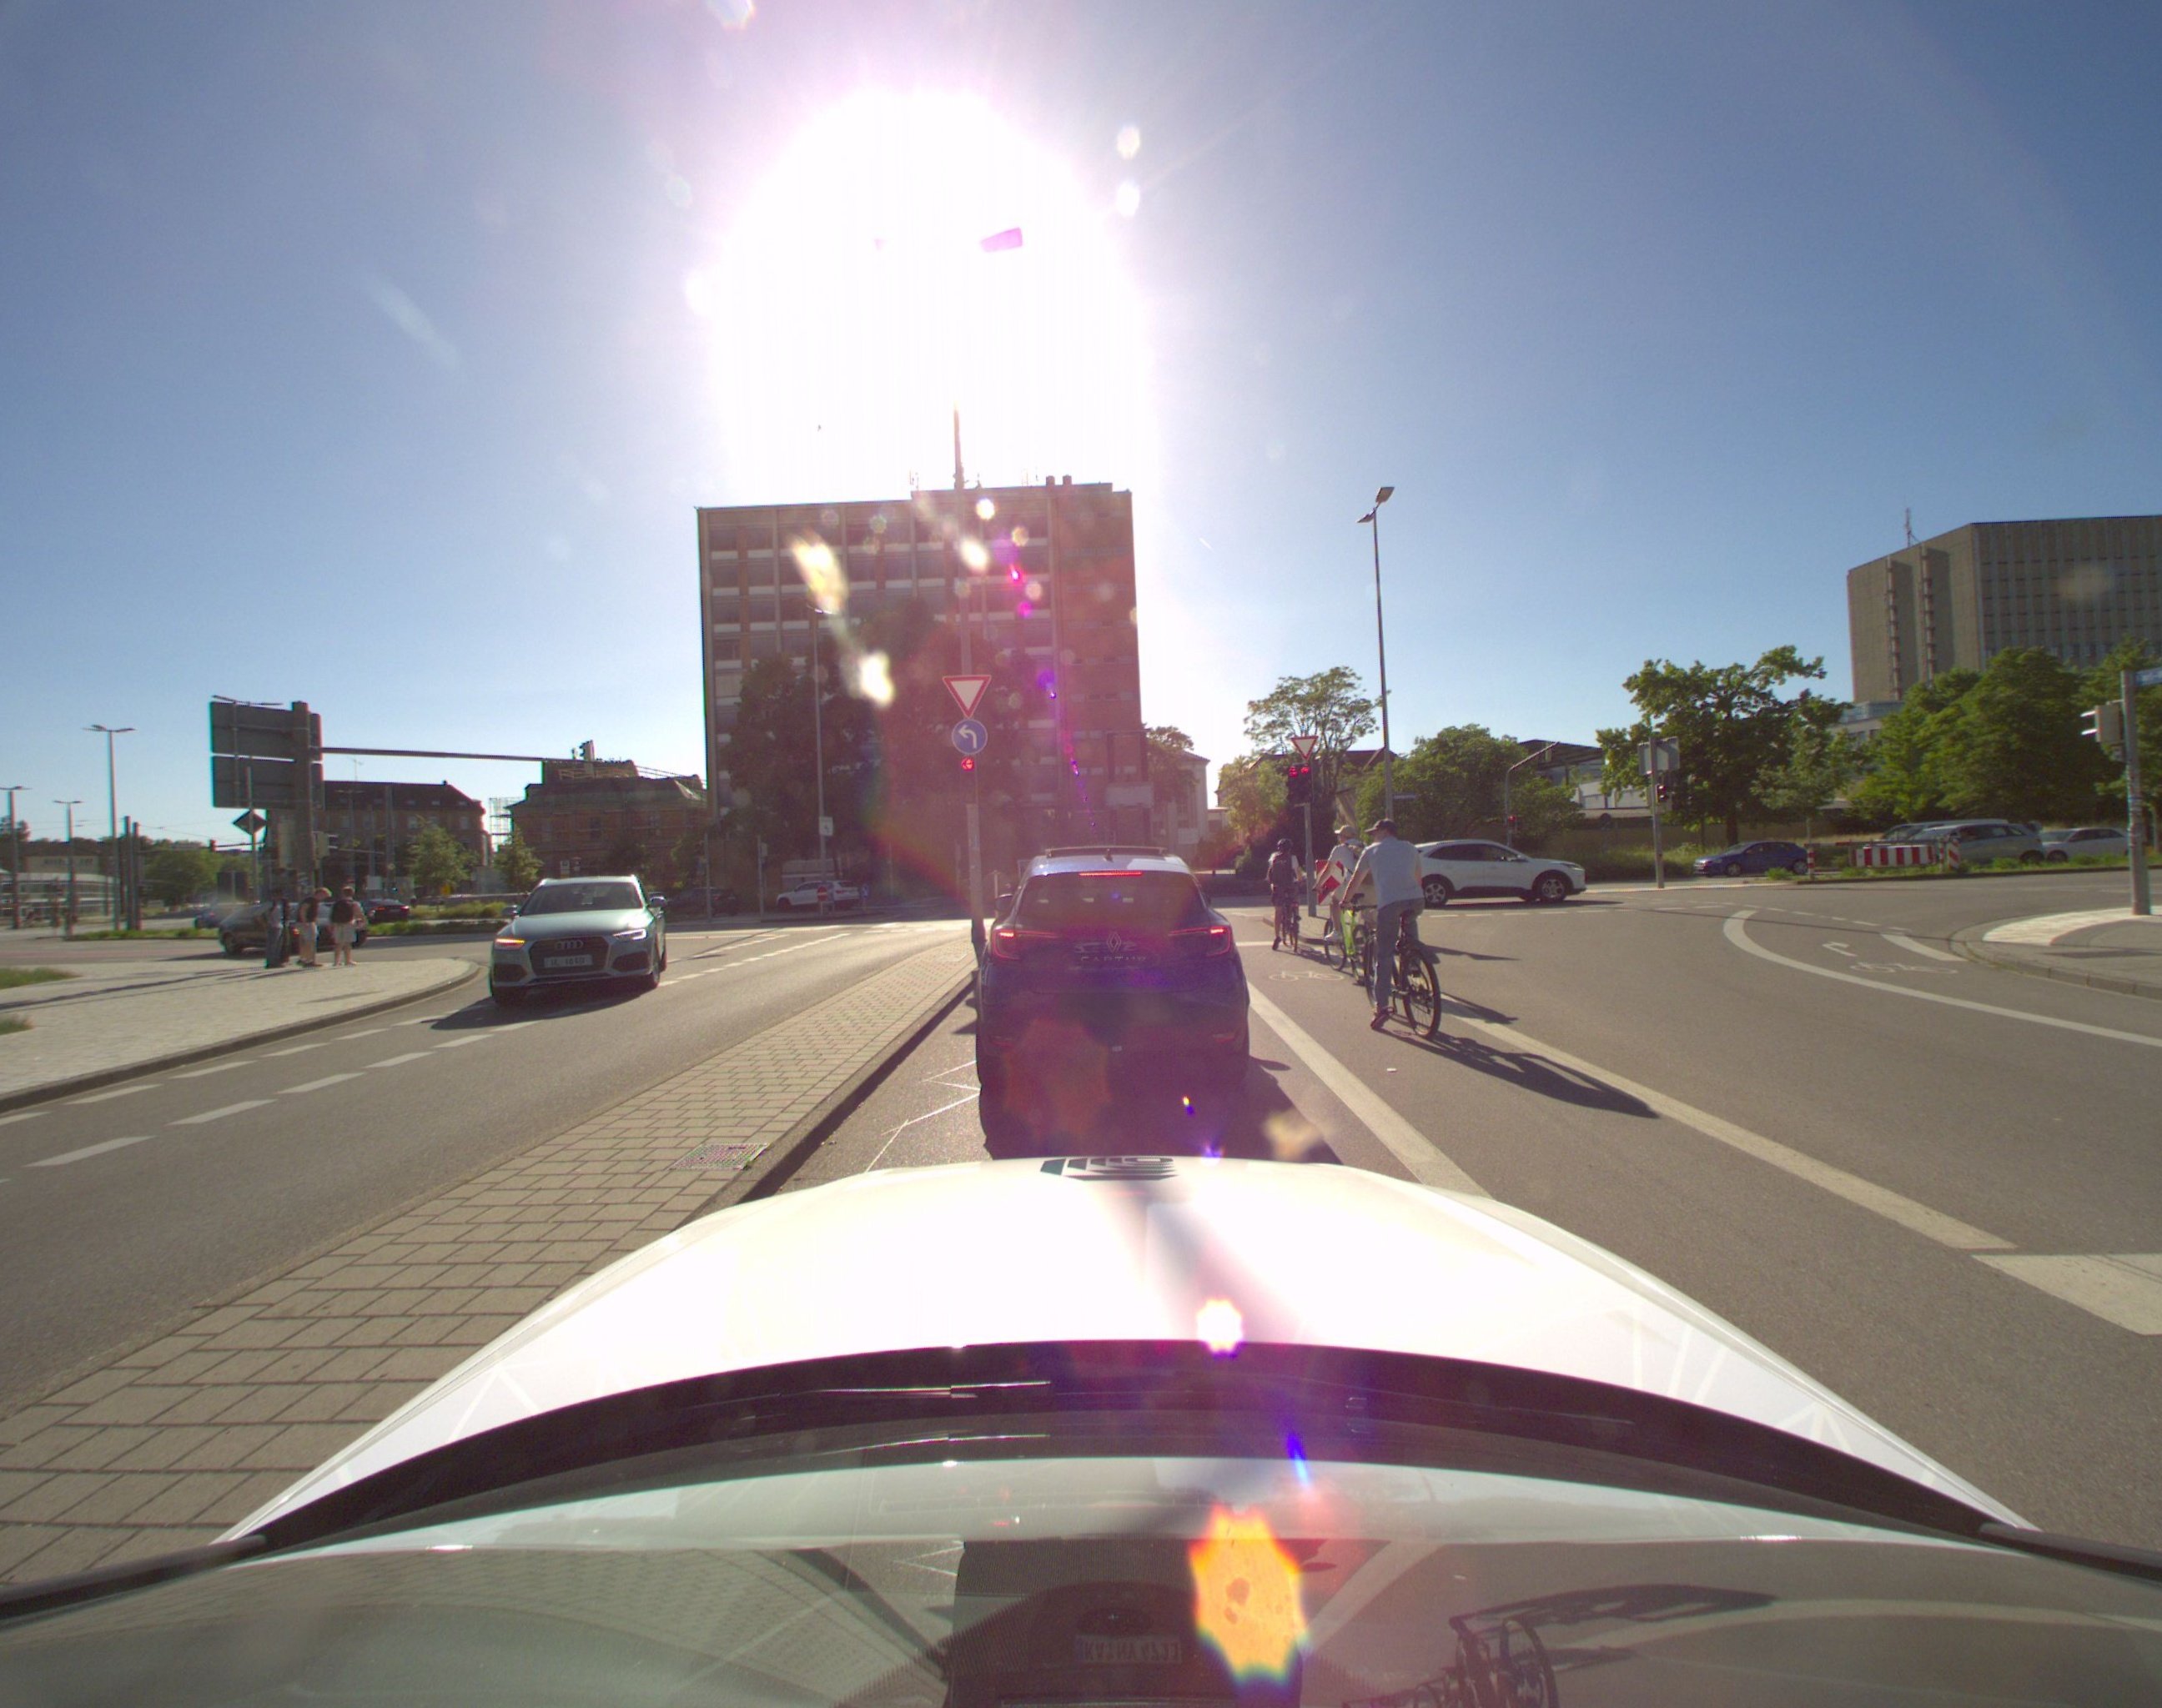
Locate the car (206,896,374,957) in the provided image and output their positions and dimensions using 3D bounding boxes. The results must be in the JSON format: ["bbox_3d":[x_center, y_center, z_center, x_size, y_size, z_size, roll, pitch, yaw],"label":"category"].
[{"bbox_3d":[-24.362,2.238,25.086,4.727,1.505,1.829,-4,0,21],"label":"car"}]

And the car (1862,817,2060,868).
[{"bbox_3d":[28.136,-0.337,26.170,4.025,1.408,1.872,-2,-1,8],"label":"car"}]

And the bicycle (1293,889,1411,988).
[{"bbox_3d":[3.209,0.957,9.856,0.657,1.003,1.967,0,-1,-4],"label":"bicycle"}]

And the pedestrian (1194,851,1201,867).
[{"bbox_3d":[13.433,0.591,94.024,0.621,1.856,0.564,-2,-1,4],"label":"pedestrian"}]

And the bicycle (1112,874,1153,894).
[{"bbox_3d":[2.771,1.626,44.032,2.067,0.930,0.698,-3,1,13],"label":"bicycle"}]

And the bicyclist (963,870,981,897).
[{"bbox_3d":[-5.893,1.600,44.058,0.741,1.441,0.593,-2,-1,-25],"label":"bicyclist"}]

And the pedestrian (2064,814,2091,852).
[{"bbox_3d":[47.776,-1.022,39.064,0.559,1.778,0.528,-2,-1,5],"label":"pedestrian"}]

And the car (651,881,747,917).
[{"bbox_3d":[-19.627,2.323,41.844,4.337,1.632,1.853,-2,-1,18],"label":"car"}]

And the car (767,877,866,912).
[{"bbox_3d":[-14.116,2.151,43.487,4.785,1.632,1.853,-2,-1,17],"label":"car"}]

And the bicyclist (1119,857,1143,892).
[{"bbox_3d":[2.711,1.100,44.054,1.094,1.867,0.655,-3,0,12],"label":"bicyclist"}]

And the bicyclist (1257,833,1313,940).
[{"bbox_3d":[3.233,0.503,12.992,0.722,1.629,0.970,0,-1,6],"label":"bicyclist"}]

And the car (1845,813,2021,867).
[{"bbox_3d":[35.190,-0.556,33.765,4.851,2.107,2.005,0,-1,8],"label":"car"}]

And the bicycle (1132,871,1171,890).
[{"bbox_3d":[3.889,1.473,45.000,2.062,0.964,0.600,-3,-1,11],"label":"bicycle"}]

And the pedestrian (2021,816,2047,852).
[{"bbox_3d":[47.196,-0.978,40.341,0.559,1.778,0.528,-3,-1,5],"label":"pedestrian"}]

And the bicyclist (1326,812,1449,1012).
[{"bbox_3d":[2.707,0.487,7.300,0.748,1.668,1.017,0,-1,3],"label":"bicyclist"}]

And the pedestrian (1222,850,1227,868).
[{"bbox_3d":[16.211,0.606,92.187,0.473,2.014,0.469,-2,-1,8],"label":"pedestrian"}]

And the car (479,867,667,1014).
[{"bbox_3d":[-7.040,1.071,11.705,1.797,1.581,4.220,-4,0,-26],"label":"car"}]

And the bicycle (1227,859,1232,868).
[{"bbox_3d":[17.185,1.077,94.177,0.403,0.973,1.686,0,-1,6],"label":"bicycle"}]

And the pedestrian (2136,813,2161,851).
[{"bbox_3d":[51.818,-1.050,39.468,0.559,1.778,0.528,-2,-1,5],"label":"pedestrian"}]

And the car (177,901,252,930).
[{"bbox_3d":[-55.101,3.884,51.793,4.333,1.632,1.854,-3,-1,24],"label":"car"}]

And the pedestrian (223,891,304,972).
[{"bbox_3d":[-18.201,1.707,18.153,0.900,1.690,0.839,-4,-3,-3],"label":"pedestrian"}]

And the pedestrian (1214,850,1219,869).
[{"bbox_3d":[15.099,0.603,90.861,0.473,2.014,0.524,-2,-1,8],"label":"pedestrian"}]

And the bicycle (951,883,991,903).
[{"bbox_3d":[-5.931,2.116,44.031,2.016,0.964,0.593,-2,-1,-25],"label":"bicycle"}]

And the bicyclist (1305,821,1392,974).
[{"bbox_3d":[3.210,0.497,9.854,0.644,1.739,1.065,0,-1,-4],"label":"bicyclist"}]

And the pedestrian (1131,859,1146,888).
[{"bbox_3d":[3.270,1.124,46.319,0.732,1.603,0.601,-3,-1,14],"label":"pedestrian"}]

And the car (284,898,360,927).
[{"bbox_3d":[-48.191,3.737,51.698,4.334,1.632,1.854,-3,-1,23],"label":"car"}]

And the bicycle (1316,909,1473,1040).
[{"bbox_3d":[2.715,1.002,7.300,0.737,0.896,1.980,0,-1,3],"label":"bicycle"}]

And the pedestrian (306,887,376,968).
[{"bbox_3d":[-16.412,1.624,18.085,0.792,1.690,0.786,-4,-3,-10],"label":"pedestrian"}]

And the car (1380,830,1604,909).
[{"bbox_3d":[10.188,0.427,20.579,4.656,1.619,1.850,-4,-3,11],"label":"car"}]

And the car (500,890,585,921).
[{"bbox_3d":[-27.837,2.675,42.121,3.803,1.435,1.752,-2,-1,21],"label":"car"}]

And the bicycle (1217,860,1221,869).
[{"bbox_3d":[15.873,1.227,93.826,0.403,0.973,1.686,0,-1,6],"label":"bicycle"}]

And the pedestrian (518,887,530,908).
[{"bbox_3d":[-43.850,3.428,64.139,0.541,1.615,0.653,-3,-1,41],"label":"pedestrian"}]

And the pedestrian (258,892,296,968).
[{"bbox_3d":[-19.197,1.791,19.450,0.600,1.729,0.572,-2,-1,-45],"label":"pedestrian"}]

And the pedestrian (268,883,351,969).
[{"bbox_3d":[-17.255,1.597,18.243,0.697,1.800,1.108,-5,-3,20],"label":"pedestrian"}]

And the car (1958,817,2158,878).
[{"bbox_3d":[36.331,-0.218,30.408,4.754,2.161,2.003,0,-1,5],"label":"car"}]

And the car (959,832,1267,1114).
[{"bbox_3d":[0.198,0.711,6.807,1.798,1.632,3.999,-1,0,0],"label":"car"}]

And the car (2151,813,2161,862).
[{"bbox_3d":[37.088,-0.627,25.347,4.713,1.584,2.002,-2,-1,3],"label":"car"}]

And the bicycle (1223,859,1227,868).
[{"bbox_3d":[16.651,1.080,94.176,0.403,0.973,1.686,0,-1,6],"label":"bicycle"}]

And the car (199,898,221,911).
[{"bbox_3d":[-141.008,8.210,131.826,3.948,2.013,2.013,-3,-1,38],"label":"car"}]

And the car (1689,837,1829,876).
[{"bbox_3d":[28.213,0.102,34.011,4.140,1.435,1.747,-2,-1,8],"label":"car"}]

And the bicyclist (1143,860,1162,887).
[{"bbox_3d":[3.932,1.060,44.998,0.930,1.429,0.600,-3,-1,11],"label":"bicyclist"}]

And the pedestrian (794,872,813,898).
[{"bbox_3d":[-18.022,2.008,52.887,0.853,1.571,0.562,-5,-1,18],"label":"pedestrian"}]

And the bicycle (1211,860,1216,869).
[{"bbox_3d":[15.255,1.232,93.885,0.403,0.973,1.686,0,-1,6],"label":"bicycle"}]

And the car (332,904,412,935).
[{"bbox_3d":[-42.566,3.926,48.901,4.334,1.632,1.854,-3,-1,23],"label":"car"}]

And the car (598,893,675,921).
[{"bbox_3d":[-25.605,3.048,46.926,3.804,1.435,1.751,-3,-2,20],"label":"car"}]

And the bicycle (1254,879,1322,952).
[{"bbox_3d":[3.242,0.930,12.938,0.735,0.995,2.177,0,-1,6],"label":"bicycle"}]
